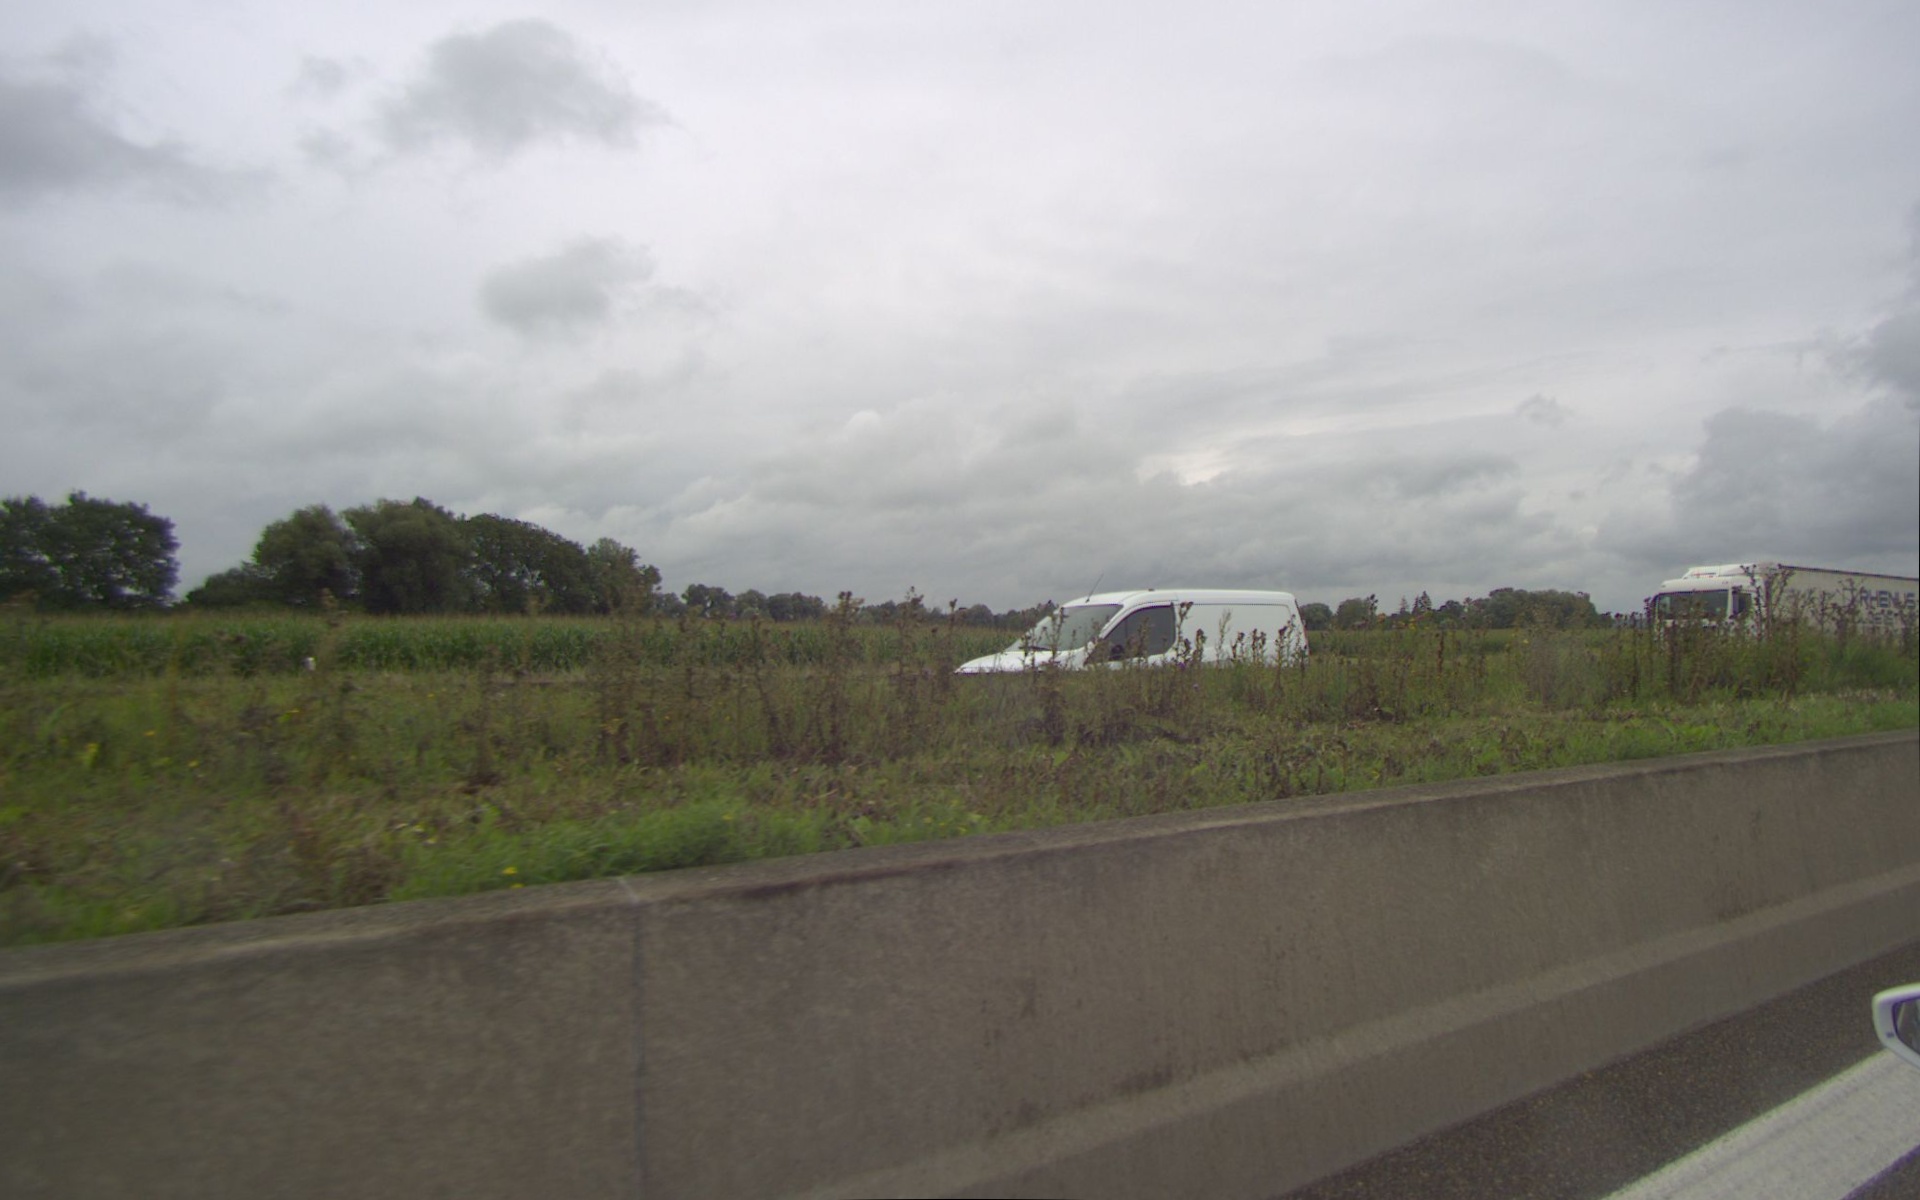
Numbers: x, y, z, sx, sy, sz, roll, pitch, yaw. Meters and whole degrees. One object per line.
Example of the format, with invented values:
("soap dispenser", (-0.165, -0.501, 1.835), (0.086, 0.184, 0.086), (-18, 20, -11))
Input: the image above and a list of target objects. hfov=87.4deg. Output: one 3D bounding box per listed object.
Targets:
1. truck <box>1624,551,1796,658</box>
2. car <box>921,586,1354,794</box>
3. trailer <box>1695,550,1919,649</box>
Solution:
("truck", (26.522, 0.209, 35.504), (5.564, 3.474, 2.954), (2, 0, -31))
("car", (2.209, 0.932, 11.996), (5.010, 2.040, 1.984), (1, 0, -31))
("trailer", (34.146, 0.133, 40.001), (13.087, 3.474, 2.900), (2, 0, -31))
